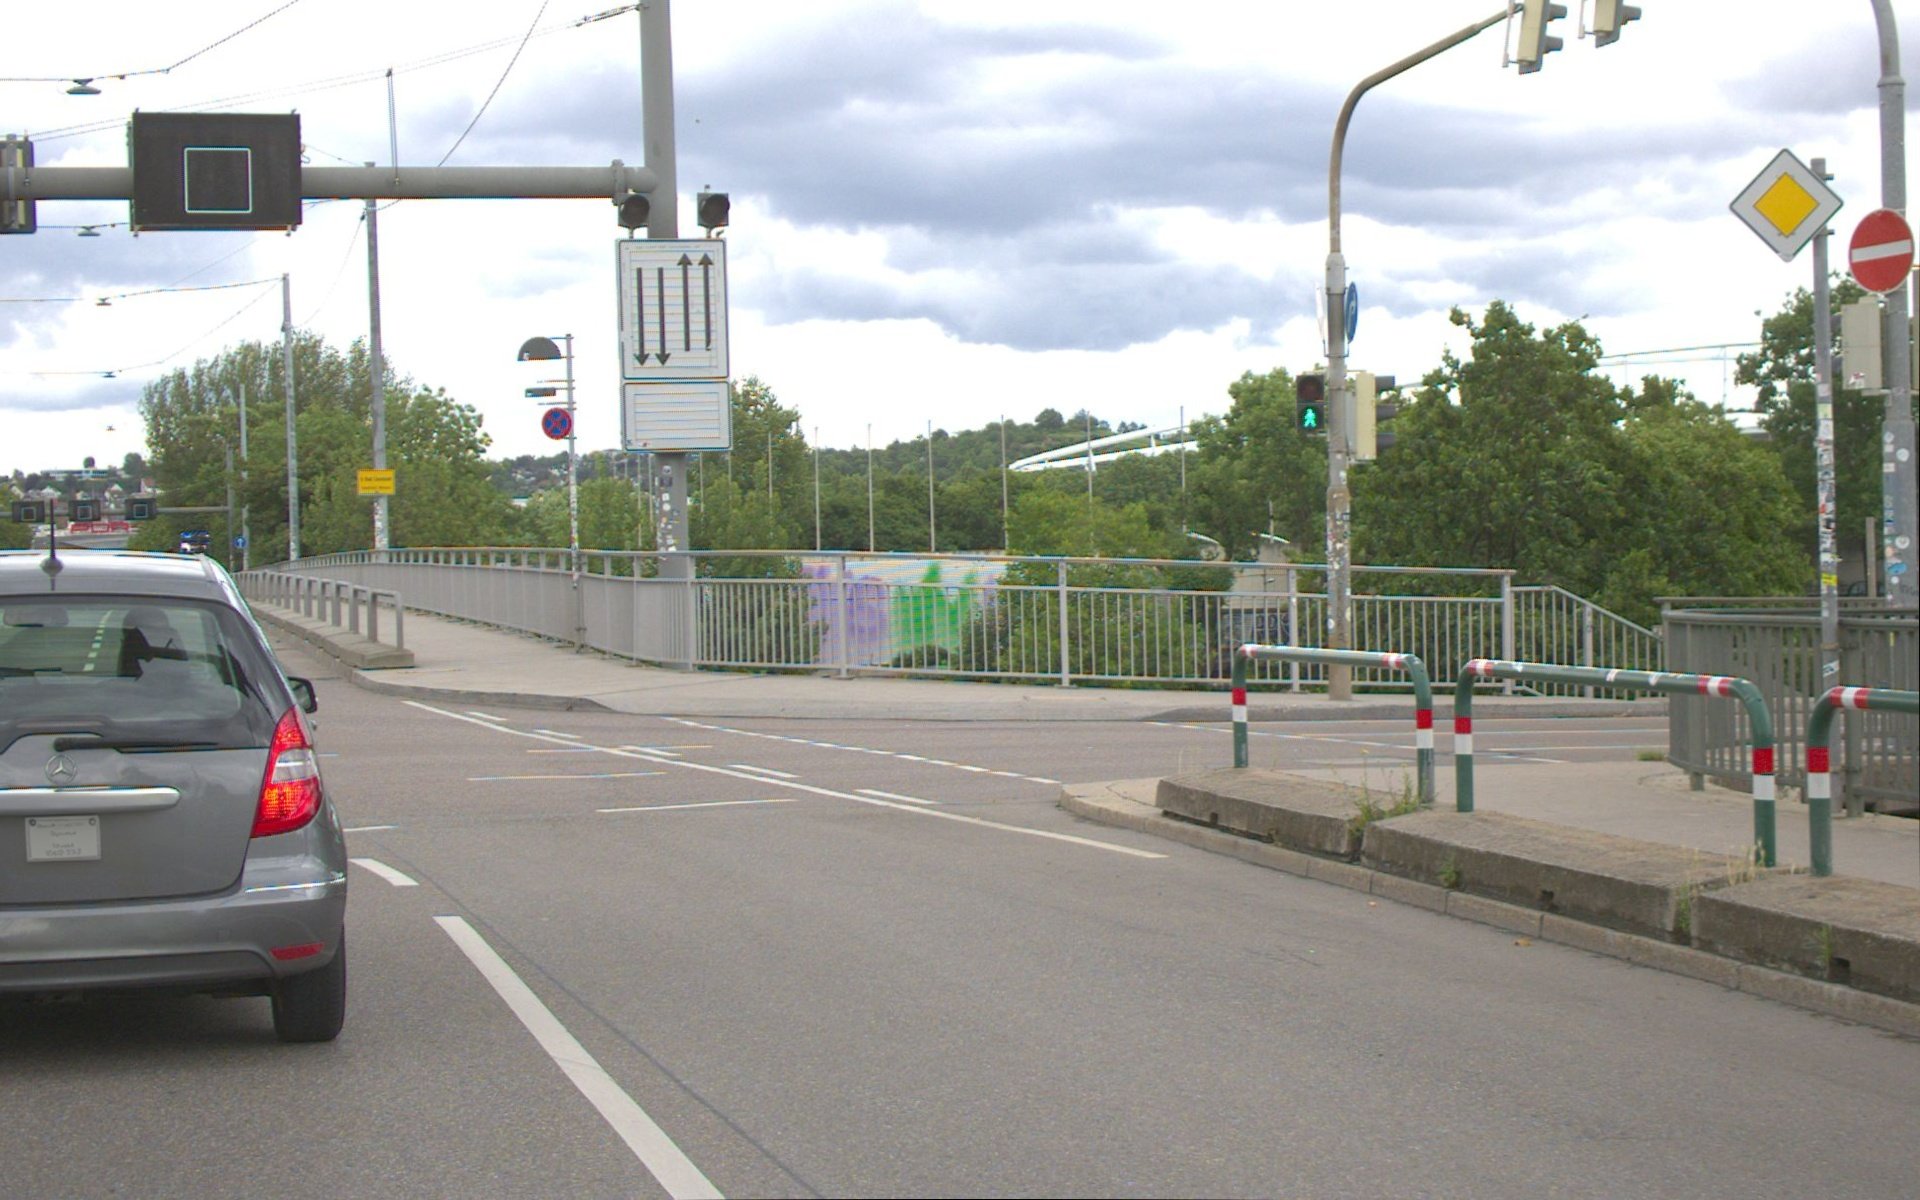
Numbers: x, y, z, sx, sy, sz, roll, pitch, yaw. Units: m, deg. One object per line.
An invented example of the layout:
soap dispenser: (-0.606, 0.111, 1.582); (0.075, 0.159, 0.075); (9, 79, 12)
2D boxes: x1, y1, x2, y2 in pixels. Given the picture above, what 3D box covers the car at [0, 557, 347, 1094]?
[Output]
car: (-3.152, 0.633, 11.869); (1.745, 1.545, 3.872); (-1, 1, -14)
